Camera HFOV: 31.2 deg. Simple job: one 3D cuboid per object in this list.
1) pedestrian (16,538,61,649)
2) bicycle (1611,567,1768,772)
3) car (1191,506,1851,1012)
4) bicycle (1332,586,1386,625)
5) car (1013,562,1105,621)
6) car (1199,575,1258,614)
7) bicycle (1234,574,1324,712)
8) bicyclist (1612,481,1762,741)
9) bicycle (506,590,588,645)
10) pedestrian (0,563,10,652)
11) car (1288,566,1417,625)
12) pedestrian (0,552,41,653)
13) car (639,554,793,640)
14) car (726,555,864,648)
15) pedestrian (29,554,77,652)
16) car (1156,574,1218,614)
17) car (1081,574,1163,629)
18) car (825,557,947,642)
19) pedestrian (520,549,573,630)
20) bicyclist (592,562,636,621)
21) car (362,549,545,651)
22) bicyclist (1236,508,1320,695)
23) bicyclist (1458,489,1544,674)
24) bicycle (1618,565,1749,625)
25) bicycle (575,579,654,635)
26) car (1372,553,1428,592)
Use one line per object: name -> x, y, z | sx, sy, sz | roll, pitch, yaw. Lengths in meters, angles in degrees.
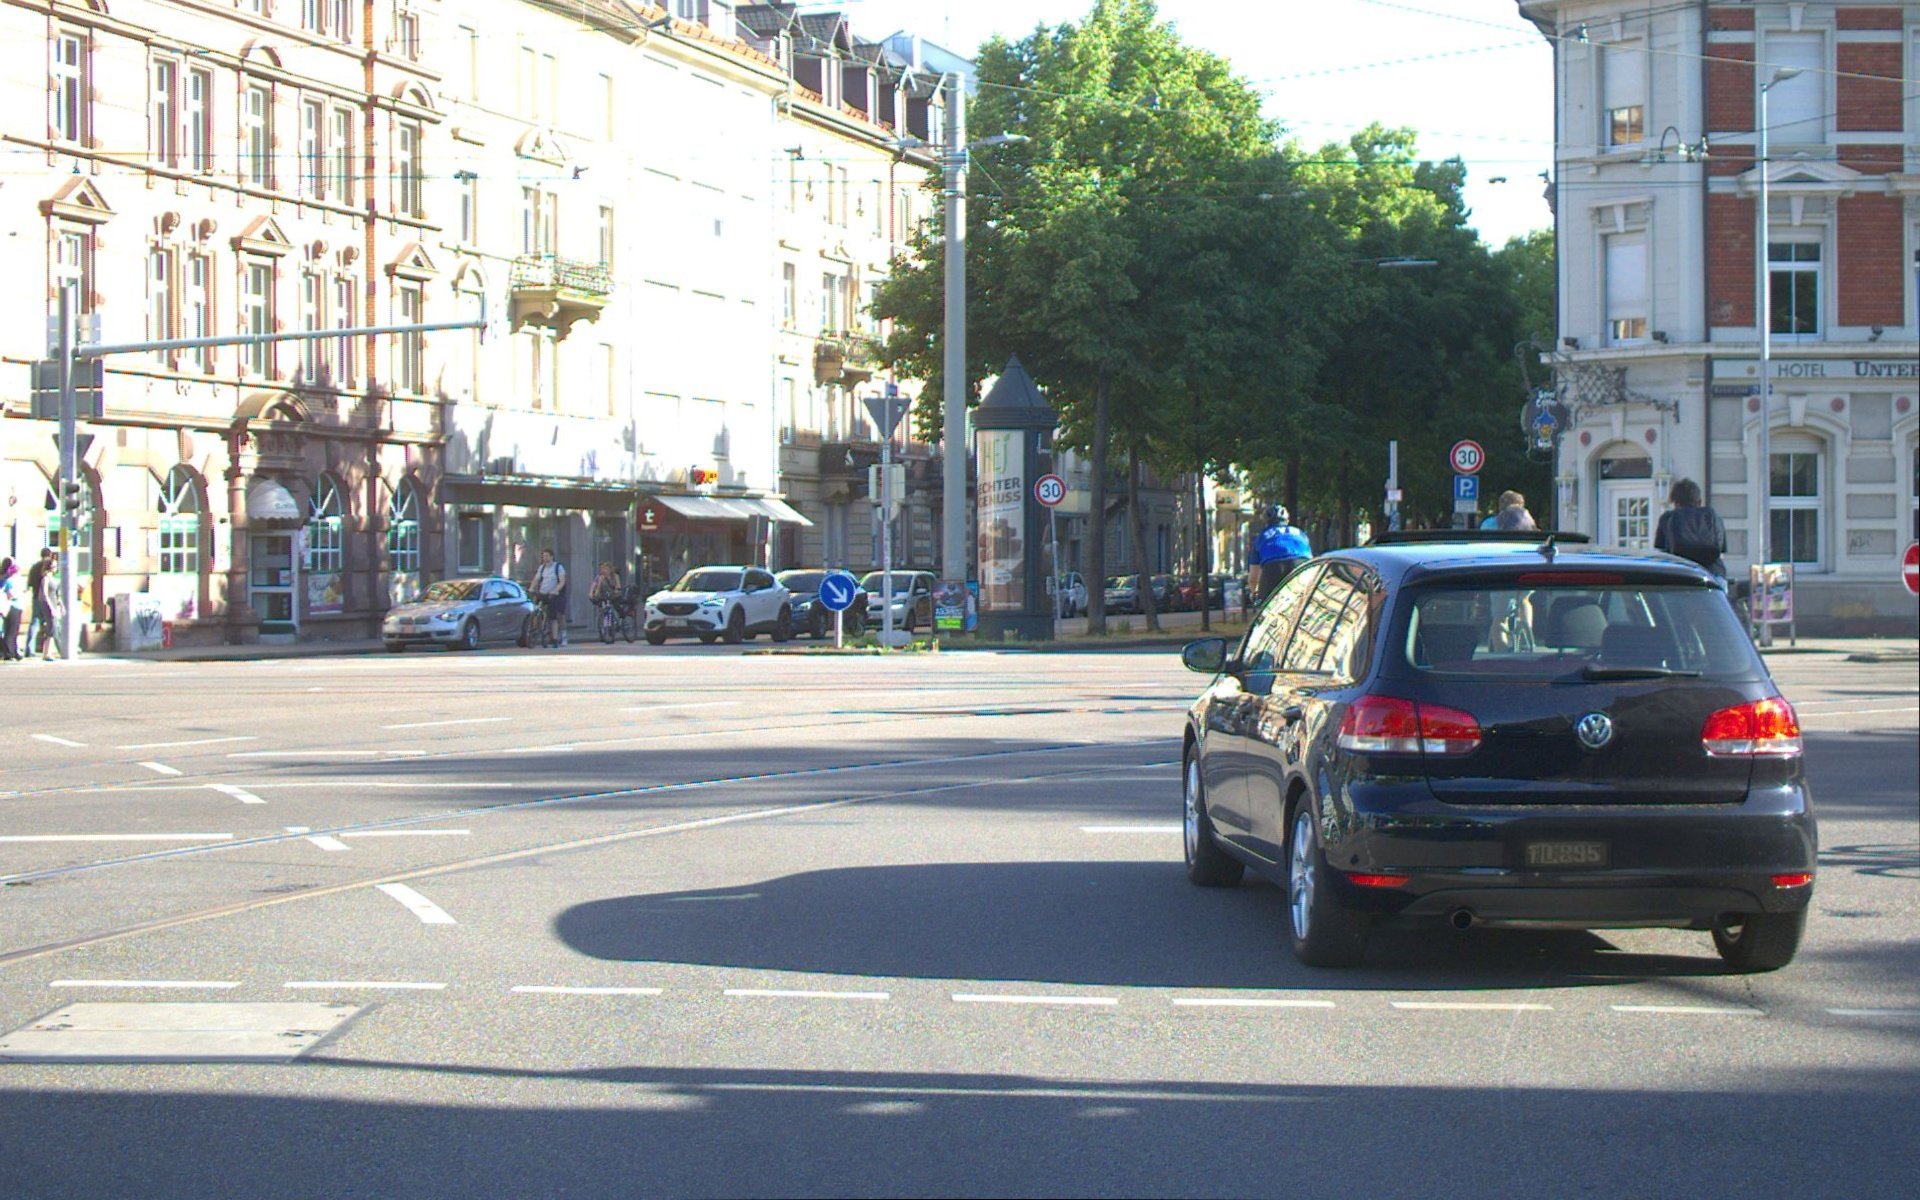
pedestrian -> -15.637, -0.114, 58.358 | 0.633, 1.875, 0.465 | 1, 0, -4
bicycle -> 4.581, 0.413, 21.684 | 0.755, 1.232, 1.702 | 1, 1, 5
car -> 1.896, 0.447, 12.821 | 1.728, 1.502, 4.051 | 1, 2, -1
bicycle -> 11.491, 0.162, 99.089 | 0.626, 1.081, 1.703 | 1, 1, -31
car -> 3.264, -0.289, 112.720 | 1.995, 1.897, 3.997 | 1, 1, 17
car -> 10.638, -0.239, 136.138 | 1.560, 1.508, 3.653 | 1, 1, 17
bicycle -> 2.586, 0.333, 27.986 | 0.626, 1.081, 1.703 | 1, 1, 2
bicyclist -> 4.586, 0.062, 21.729 | 0.806, 1.601, 0.883 | 1, 0, 5
bicycle -> -7.826, 0.328, 65.303 | 0.763, 1.004, 2.395 | 1, 1, 13
pedestrian -> -16.197, 0.115, 57.271 | 0.633, 1.471, 0.465 | 1, 0, -4
car -> 13.145, -0.172, 114.992 | 3.990, 1.897, 1.998 | 1, 1, 16
pedestrian -> -15.342, 0.042, 55.920 | 0.633, 1.628, 0.701 | 1, 0, -4
car -> -4.734, -0.077, 67.376 | 1.994, 1.612, 3.998 | 1, 1, 11
car -> -3.496, 0.009, 73.621 | 1.994, 1.897, 3.998 | 1, 1, 11
pedestrian -> -15.102, 0.045, 57.276 | 0.633, 1.628, 0.701 | 1, 0, -4
car -> 8.723, -0.248, 132.012 | 1.560, 1.508, 3.653 | 1, 1, 17
car -> 5.804, 0.042, 122.577 | 1.995, 1.897, 3.997 | 1, 1, 17
car -> -1.682, -0.025, 79.593 | 1.994, 1.897, 3.998 | 1, 1, 11
pedestrian -> -7.840, -0.199, 65.223 | 0.821, 1.507, 0.598 | 1, 0, 15
bicyclist -> -7.076, -0.174, 70.368 | 0.632, 1.181, 0.684 | 1, 0, 21
car -> -9.855, -0.015, 67.139 | 1.995, 1.897, 3.997 | 1, 1, 17
bicyclist -> 2.595, 0.000, 28.130 | 0.639, 1.489, 0.883 | 1, 2, 4
bicyclist -> 4.866, -0.168, 30.885 | 0.690, 1.627, 0.883 | 1, 0, 12
bicycle -> 12.012, -0.088, 57.134 | 2.049, 0.994, 0.630 | 0, 0, 3
bicycle -> -7.060, 0.126, 70.434 | 0.651, 1.119, 2.250 | 1, 1, 21
car -> 17.262, -1.077, 134.725 | 1.560, 1.508, 3.653 | 1, 1, 17
